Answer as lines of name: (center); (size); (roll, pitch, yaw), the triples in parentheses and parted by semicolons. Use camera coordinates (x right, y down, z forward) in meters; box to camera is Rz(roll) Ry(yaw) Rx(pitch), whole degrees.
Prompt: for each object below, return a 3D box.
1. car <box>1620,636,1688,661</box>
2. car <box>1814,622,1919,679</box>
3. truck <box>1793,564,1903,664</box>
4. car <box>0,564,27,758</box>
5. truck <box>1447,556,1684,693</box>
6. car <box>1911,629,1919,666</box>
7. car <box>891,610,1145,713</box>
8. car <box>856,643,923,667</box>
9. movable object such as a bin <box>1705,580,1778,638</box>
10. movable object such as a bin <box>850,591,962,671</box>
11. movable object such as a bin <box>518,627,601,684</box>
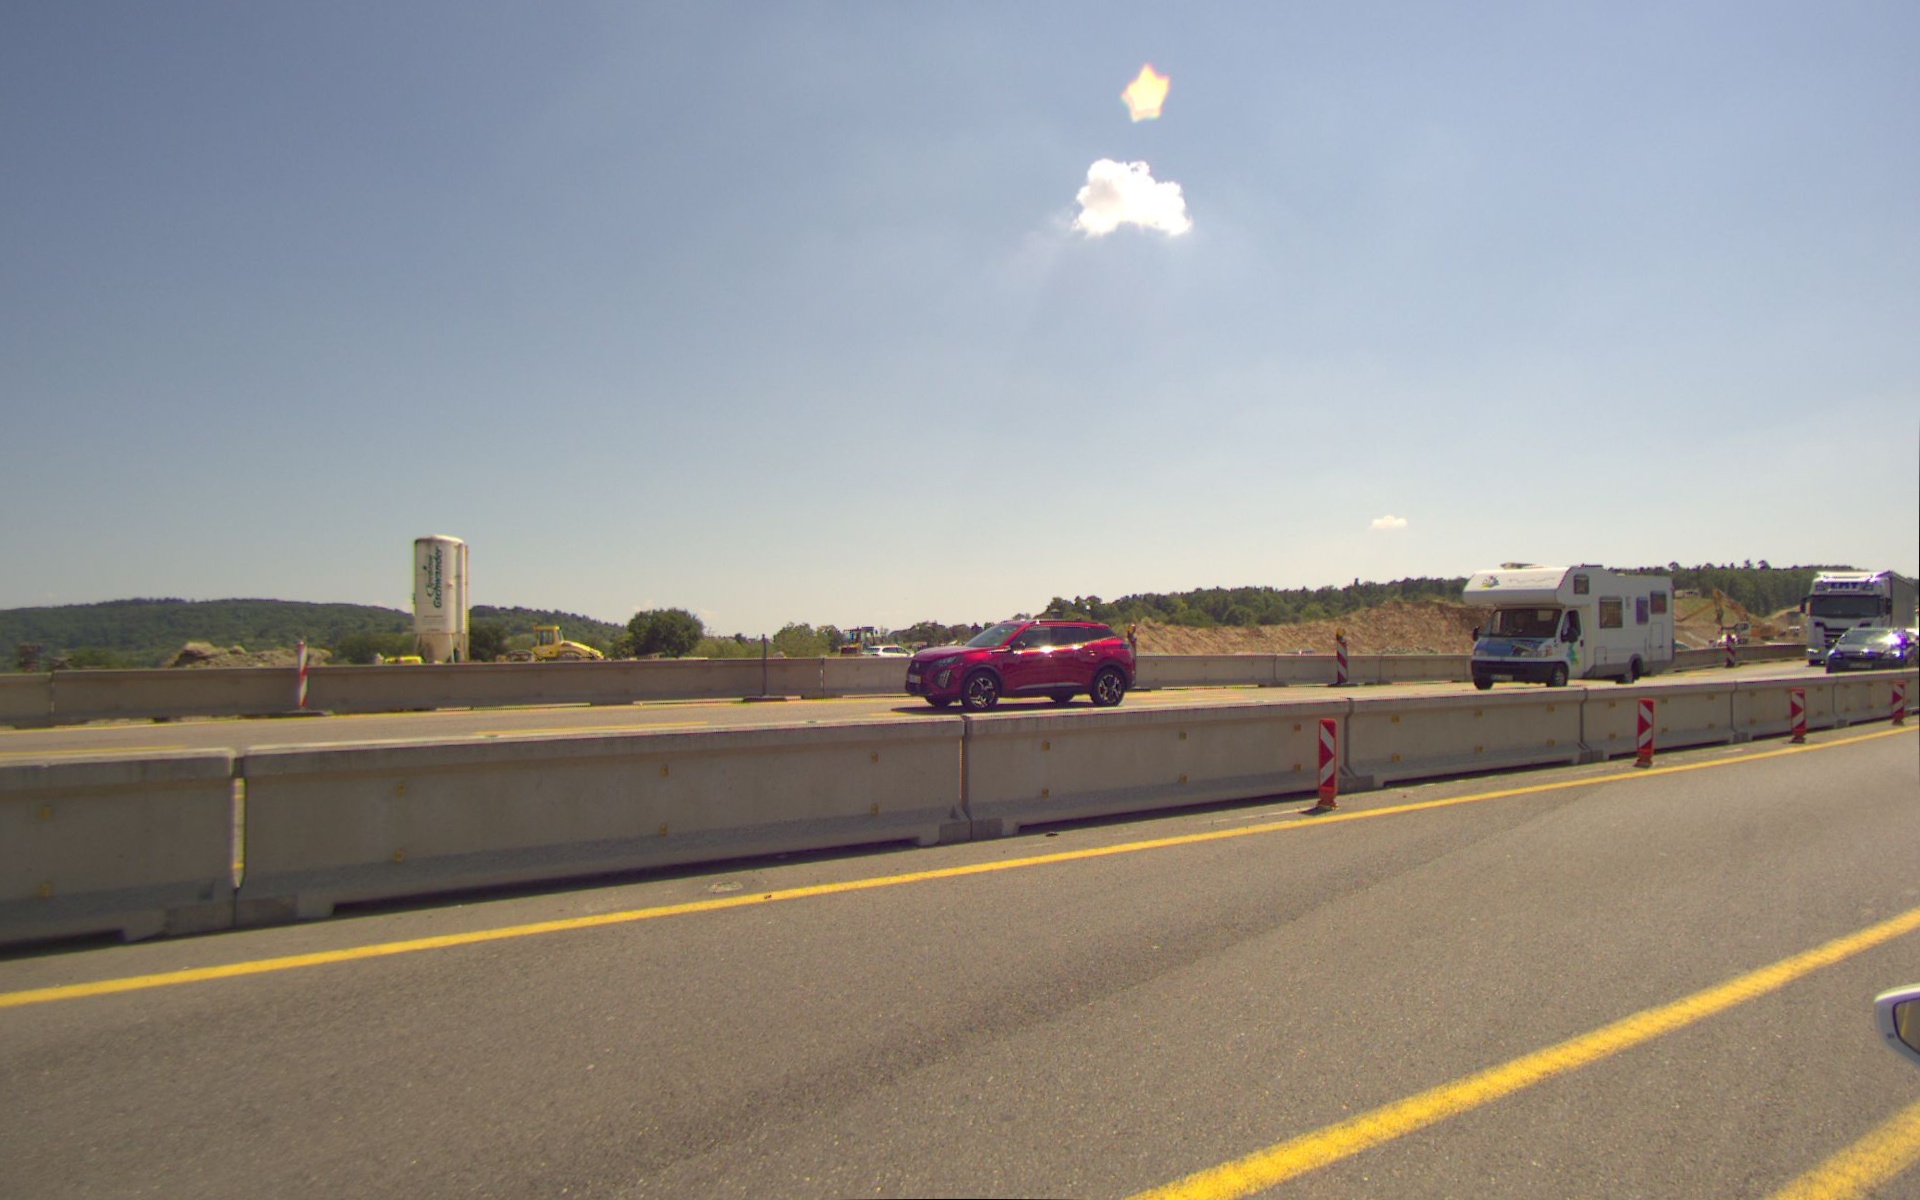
car: (43.387, 3.031, 62.832); (3.138, 1.474, 1.548); (-1, -2, 18)
car: (27.848, 1.508, 30.709); (4.354, 1.626, 1.649); (1, -2, -36)
truck: (38.753, 0.661, 43.808); (5.454, 4.115, 2.680); (1, -2, -39)
car: (-11.835, 0.596, 8.940); (4.835, 1.979, 1.857); (1, -2, -30)
truck: (15.643, 0.638, 25.751); (7.173, 3.112, 2.426); (1, -2, -35)
car: (40.352, 1.912, 41.064); (3.937, 1.495, 1.655); (1, -2, -40)
car: (1.071, 1.034, 17.883); (4.283, 1.649, 1.713); (1, -2, -29)
car: (-4.422, 3.461, 63.502); (1.593, 1.427, 4.425); (-2, -3, 40)
movable object such as a bin: (110.169, 1.351, 141.647); (3.423, 7.815, 7.561); (1, -2, -45)
movable object such as a bin: (-2.254, 1.275, 41.494); (4.216, 3.182, 1.989); (0, -2, -23)
movable object such as a bin: (-23.295, 3.207, 58.501); (4.422, 3.182, 1.989); (0, -2, -23)
